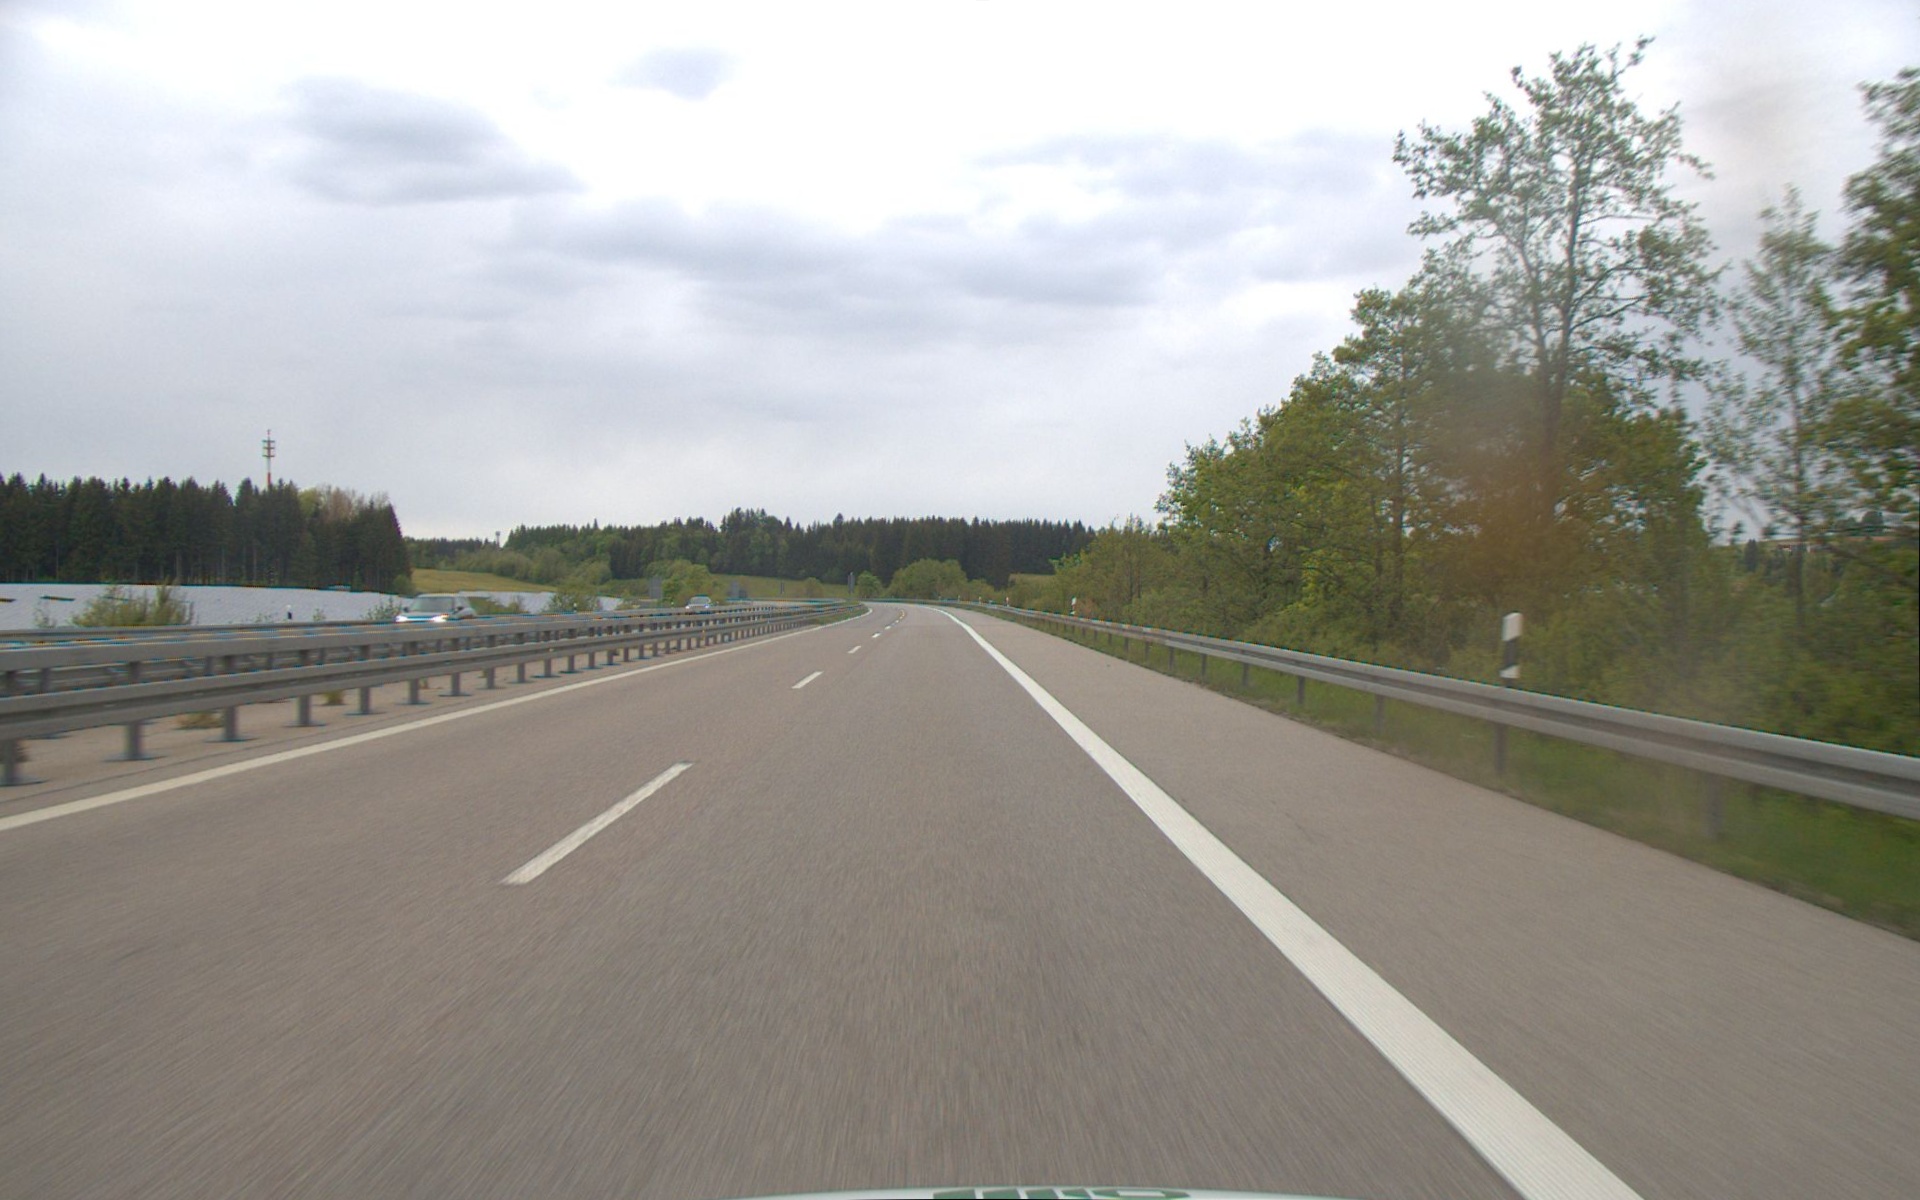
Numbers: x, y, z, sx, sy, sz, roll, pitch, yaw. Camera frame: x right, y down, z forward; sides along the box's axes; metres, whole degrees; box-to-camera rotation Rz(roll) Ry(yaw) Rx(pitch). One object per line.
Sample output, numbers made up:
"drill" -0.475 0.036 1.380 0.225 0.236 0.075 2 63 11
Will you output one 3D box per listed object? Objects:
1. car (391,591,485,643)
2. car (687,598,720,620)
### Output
"car" -17.344 0.560 55.158 1.861 1.641 4.227 1 0 -1
"car" -19.536 0.677 126.314 1.953 1.645 4.845 0 0 -2
